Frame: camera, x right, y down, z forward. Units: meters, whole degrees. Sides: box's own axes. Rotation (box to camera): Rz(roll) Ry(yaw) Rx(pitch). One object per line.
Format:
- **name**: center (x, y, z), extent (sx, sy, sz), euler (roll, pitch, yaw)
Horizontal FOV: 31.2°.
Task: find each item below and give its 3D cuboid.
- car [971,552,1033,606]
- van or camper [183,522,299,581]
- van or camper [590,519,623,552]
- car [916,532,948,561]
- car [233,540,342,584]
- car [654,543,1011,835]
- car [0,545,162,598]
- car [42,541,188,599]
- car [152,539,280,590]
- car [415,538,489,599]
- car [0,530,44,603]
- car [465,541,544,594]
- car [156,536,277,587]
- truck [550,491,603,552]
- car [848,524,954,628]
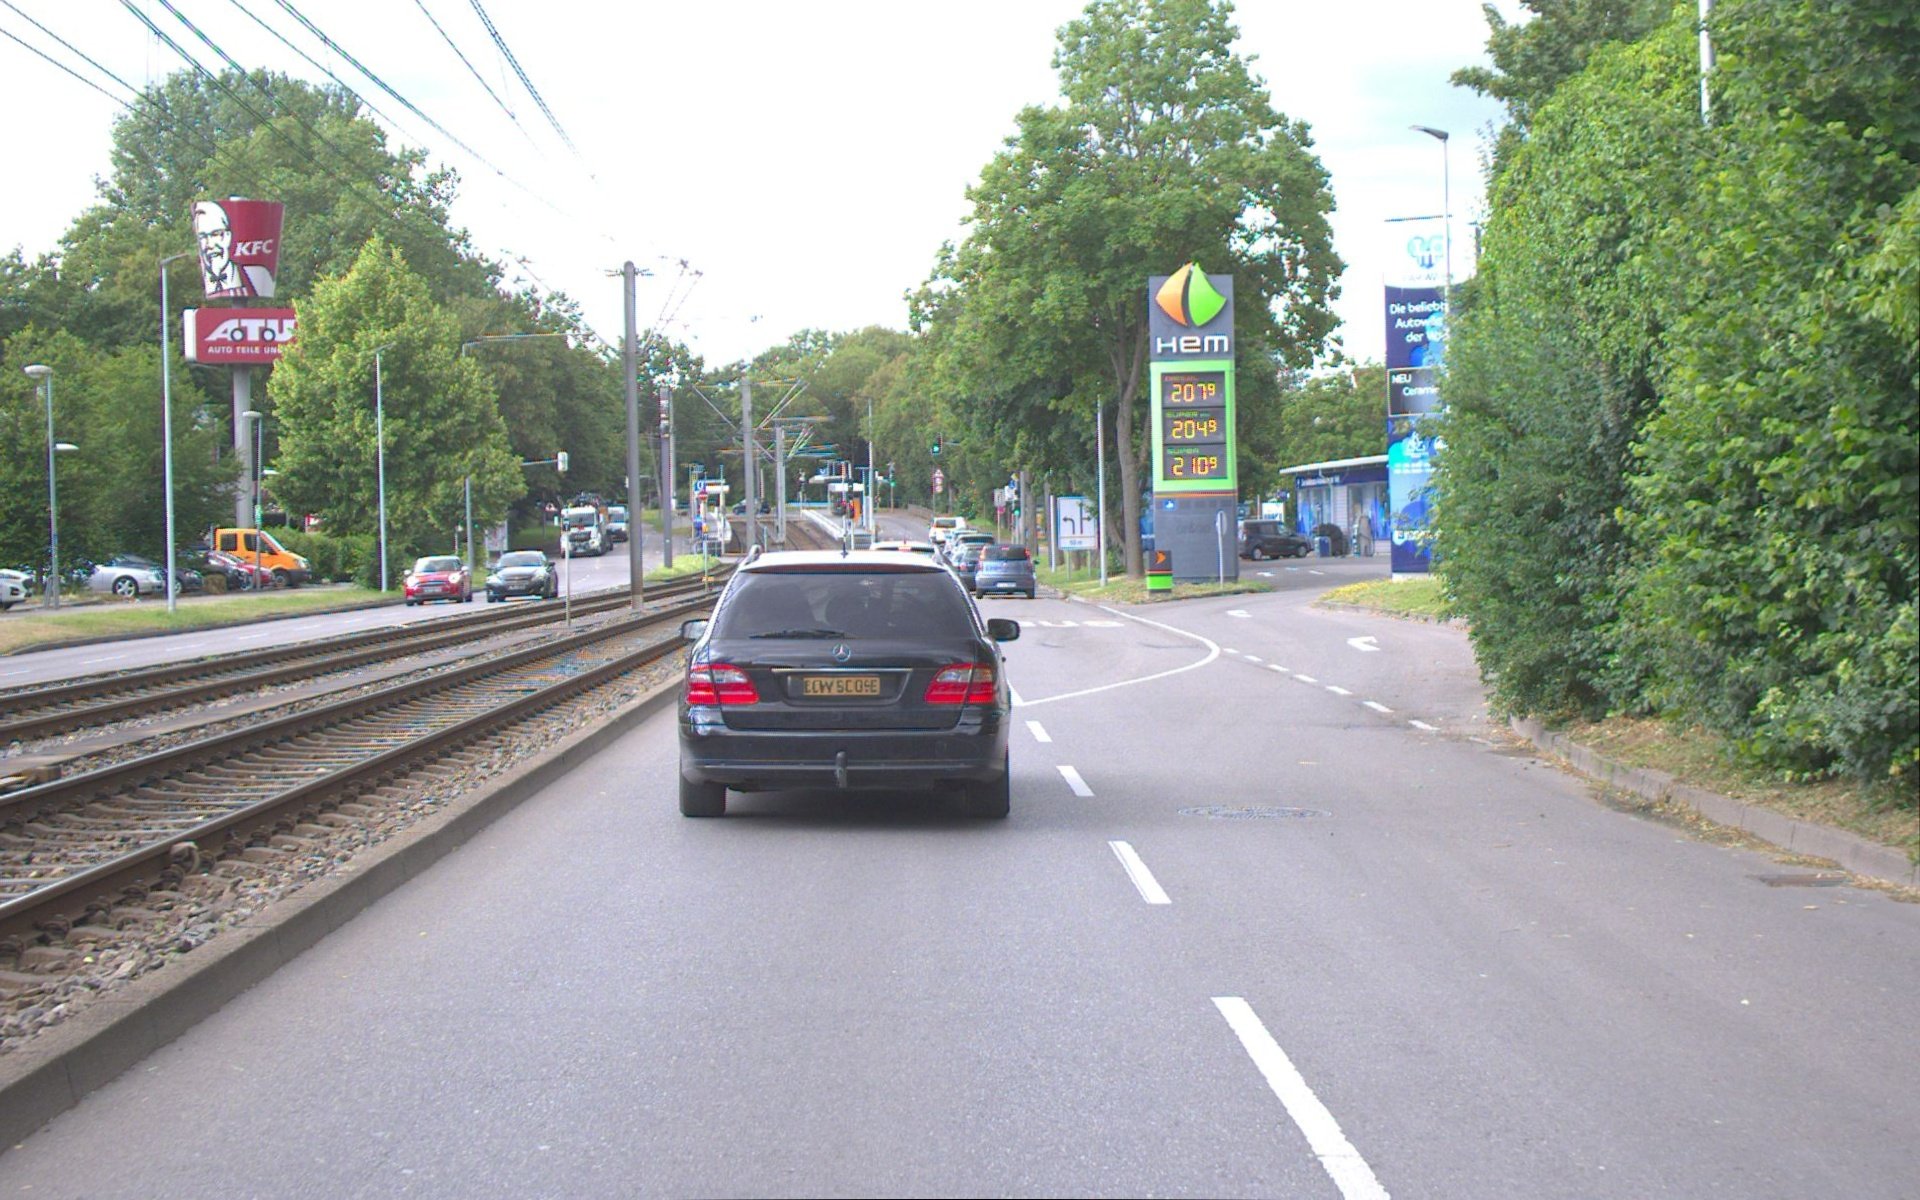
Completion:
- **car**: center (1.129, -0.561, 93.150), extent (1.571, 1.410, 3.354), euler (1, 0, -1)
- **van or camper**: center (-26.345, -1.783, 126.089), extent (3.986, 2.127, 1.878), euler (0, 1, -5)
- **van or camper**: center (-25.649, -4.663, 249.630), extent (1.993, 2.346, 5.766), euler (-2, 1, -3)
- **car**: center (-1.790, -3.398, 217.896), extent (1.993, 1.831, 4.000), euler (1, 1, -1)
- **car**: center (-26.369, -1.504, 134.822), extent (3.986, 1.594, 1.797), euler (-2, 1, -5)
- **car**: center (-0.677, 0.419, 19.411), extent (1.808, 1.469, 3.881), euler (0, 1, -1)
- **car**: center (-25.564, -0.829, 100.078), extent (4.306, 1.467, 1.681), euler (-1, 1, -3)
- **car**: center (-25.503, -0.921, 103.851), extent (3.986, 1.629, 1.878), euler (-2, 1, -5)
- **car**: center (-25.156, -1.209, 116.340), extent (3.986, 1.594, 1.878), euler (-2, 1, -5)
- **car**: center (-15.370, -0.961, 104.185), extent (1.792, 1.766, 4.001), euler (-1, 1, -3)
- **car**: center (-25.233, -0.802, 86.350), extent (3.986, 1.791, 1.878), euler (-2, 1, -5)
- **car**: center (-13.104, -0.962, 99.084), extent (1.759, 1.396, 4.444), euler (-4, 1, -2)
- **car**: center (-26.240, -1.369, 121.378), extent (3.986, 1.791, 1.878), euler (0, 1, -5)
- **truck**: center (-24.098, -4.910, 216.300), extent (2.706, 3.651, 11.114), euler (-2, 1, -4)
- **car**: center (-1.033, -0.426, 60.304), extent (1.780, 1.744, 3.718), euler (1, 0, -1)
